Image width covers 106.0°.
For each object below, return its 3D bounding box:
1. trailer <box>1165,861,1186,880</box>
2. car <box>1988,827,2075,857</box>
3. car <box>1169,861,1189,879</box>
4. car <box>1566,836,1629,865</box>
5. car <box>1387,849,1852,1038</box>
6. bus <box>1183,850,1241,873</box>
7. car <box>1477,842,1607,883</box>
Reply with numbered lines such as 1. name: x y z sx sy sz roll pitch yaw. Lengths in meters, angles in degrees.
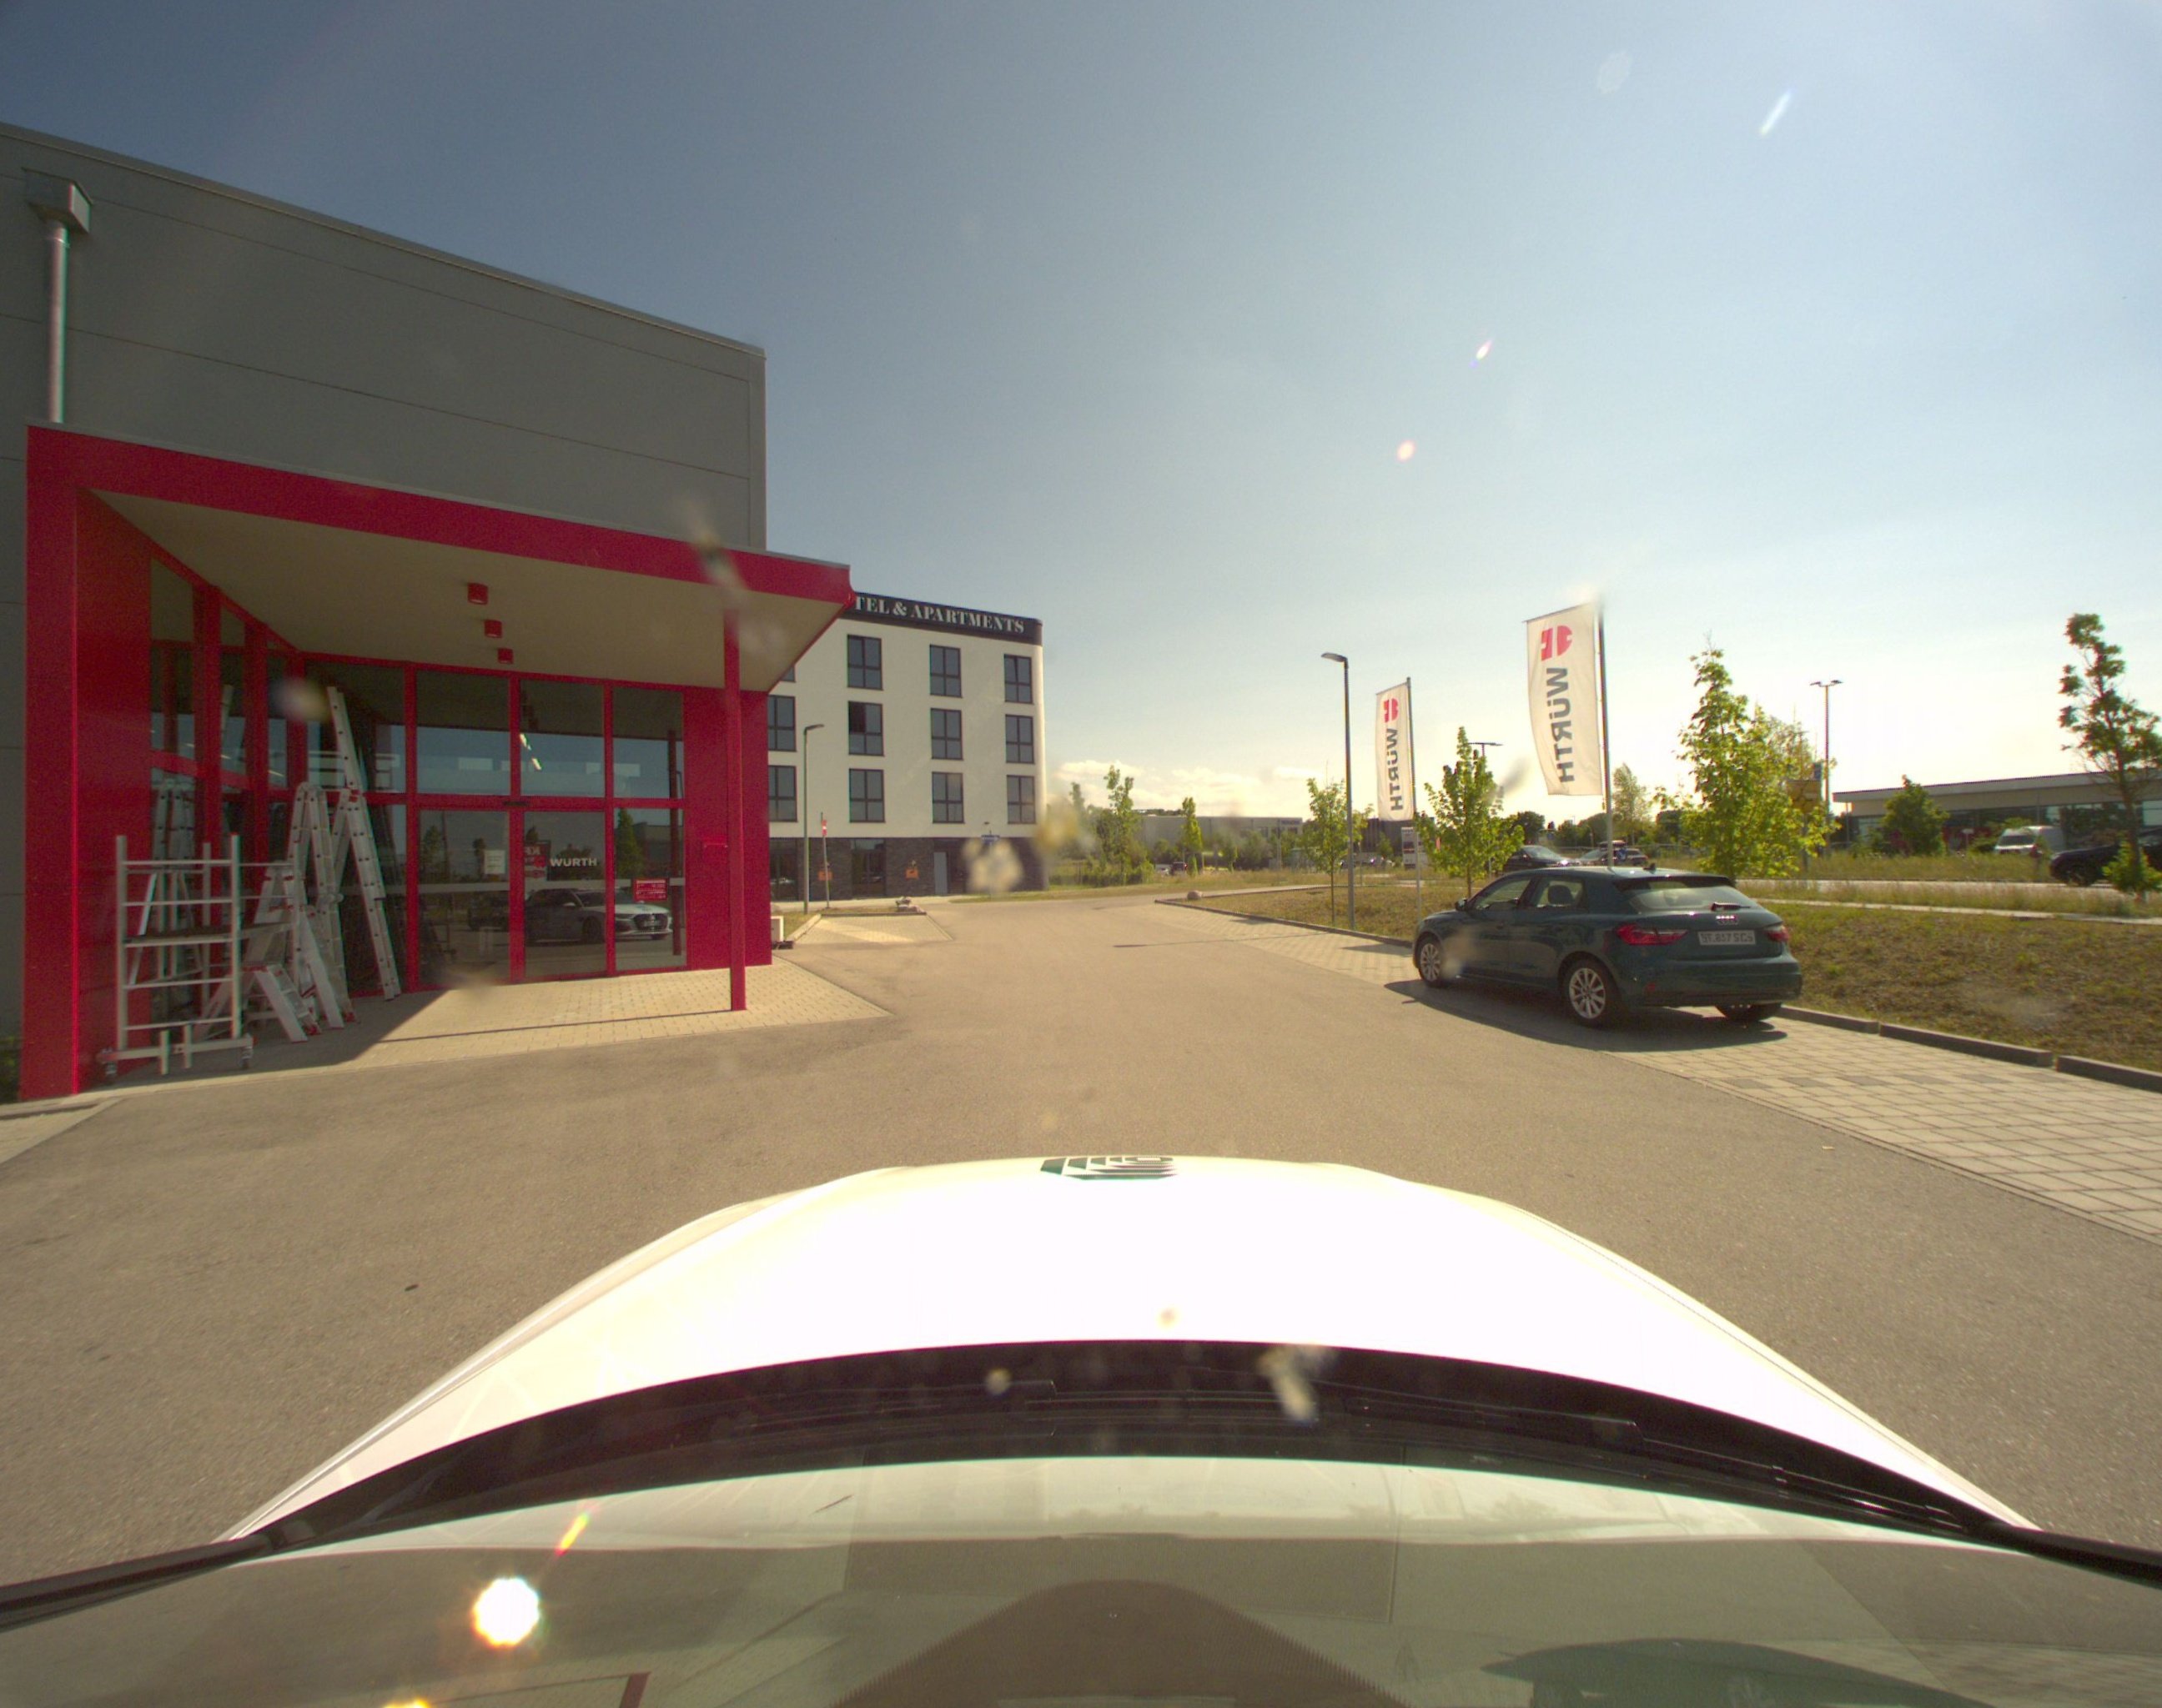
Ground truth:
1. trailer: 9.981 1.724 85.800 1.810 1.860 4.012 -1 -1 11
2. car: 68.024 -0.839 58.264 6.705 1.977 2.212 -1 -1 -24
3. car: 10.818 1.758 89.717 1.810 1.860 4.012 -1 -1 11
4. car: 28.338 -0.168 44.625 4.220 1.517 1.975 0 -1 -44
5. car: 5.162 0.723 8.664 1.838 1.449 4.217 -1 0 -6
6. bus: 17.405 0.956 107.218 2.547 2.735 11.643 -2 0 36
7. car: 19.210 0.360 34.222 1.944 1.551 4.735 -1 -1 -16
